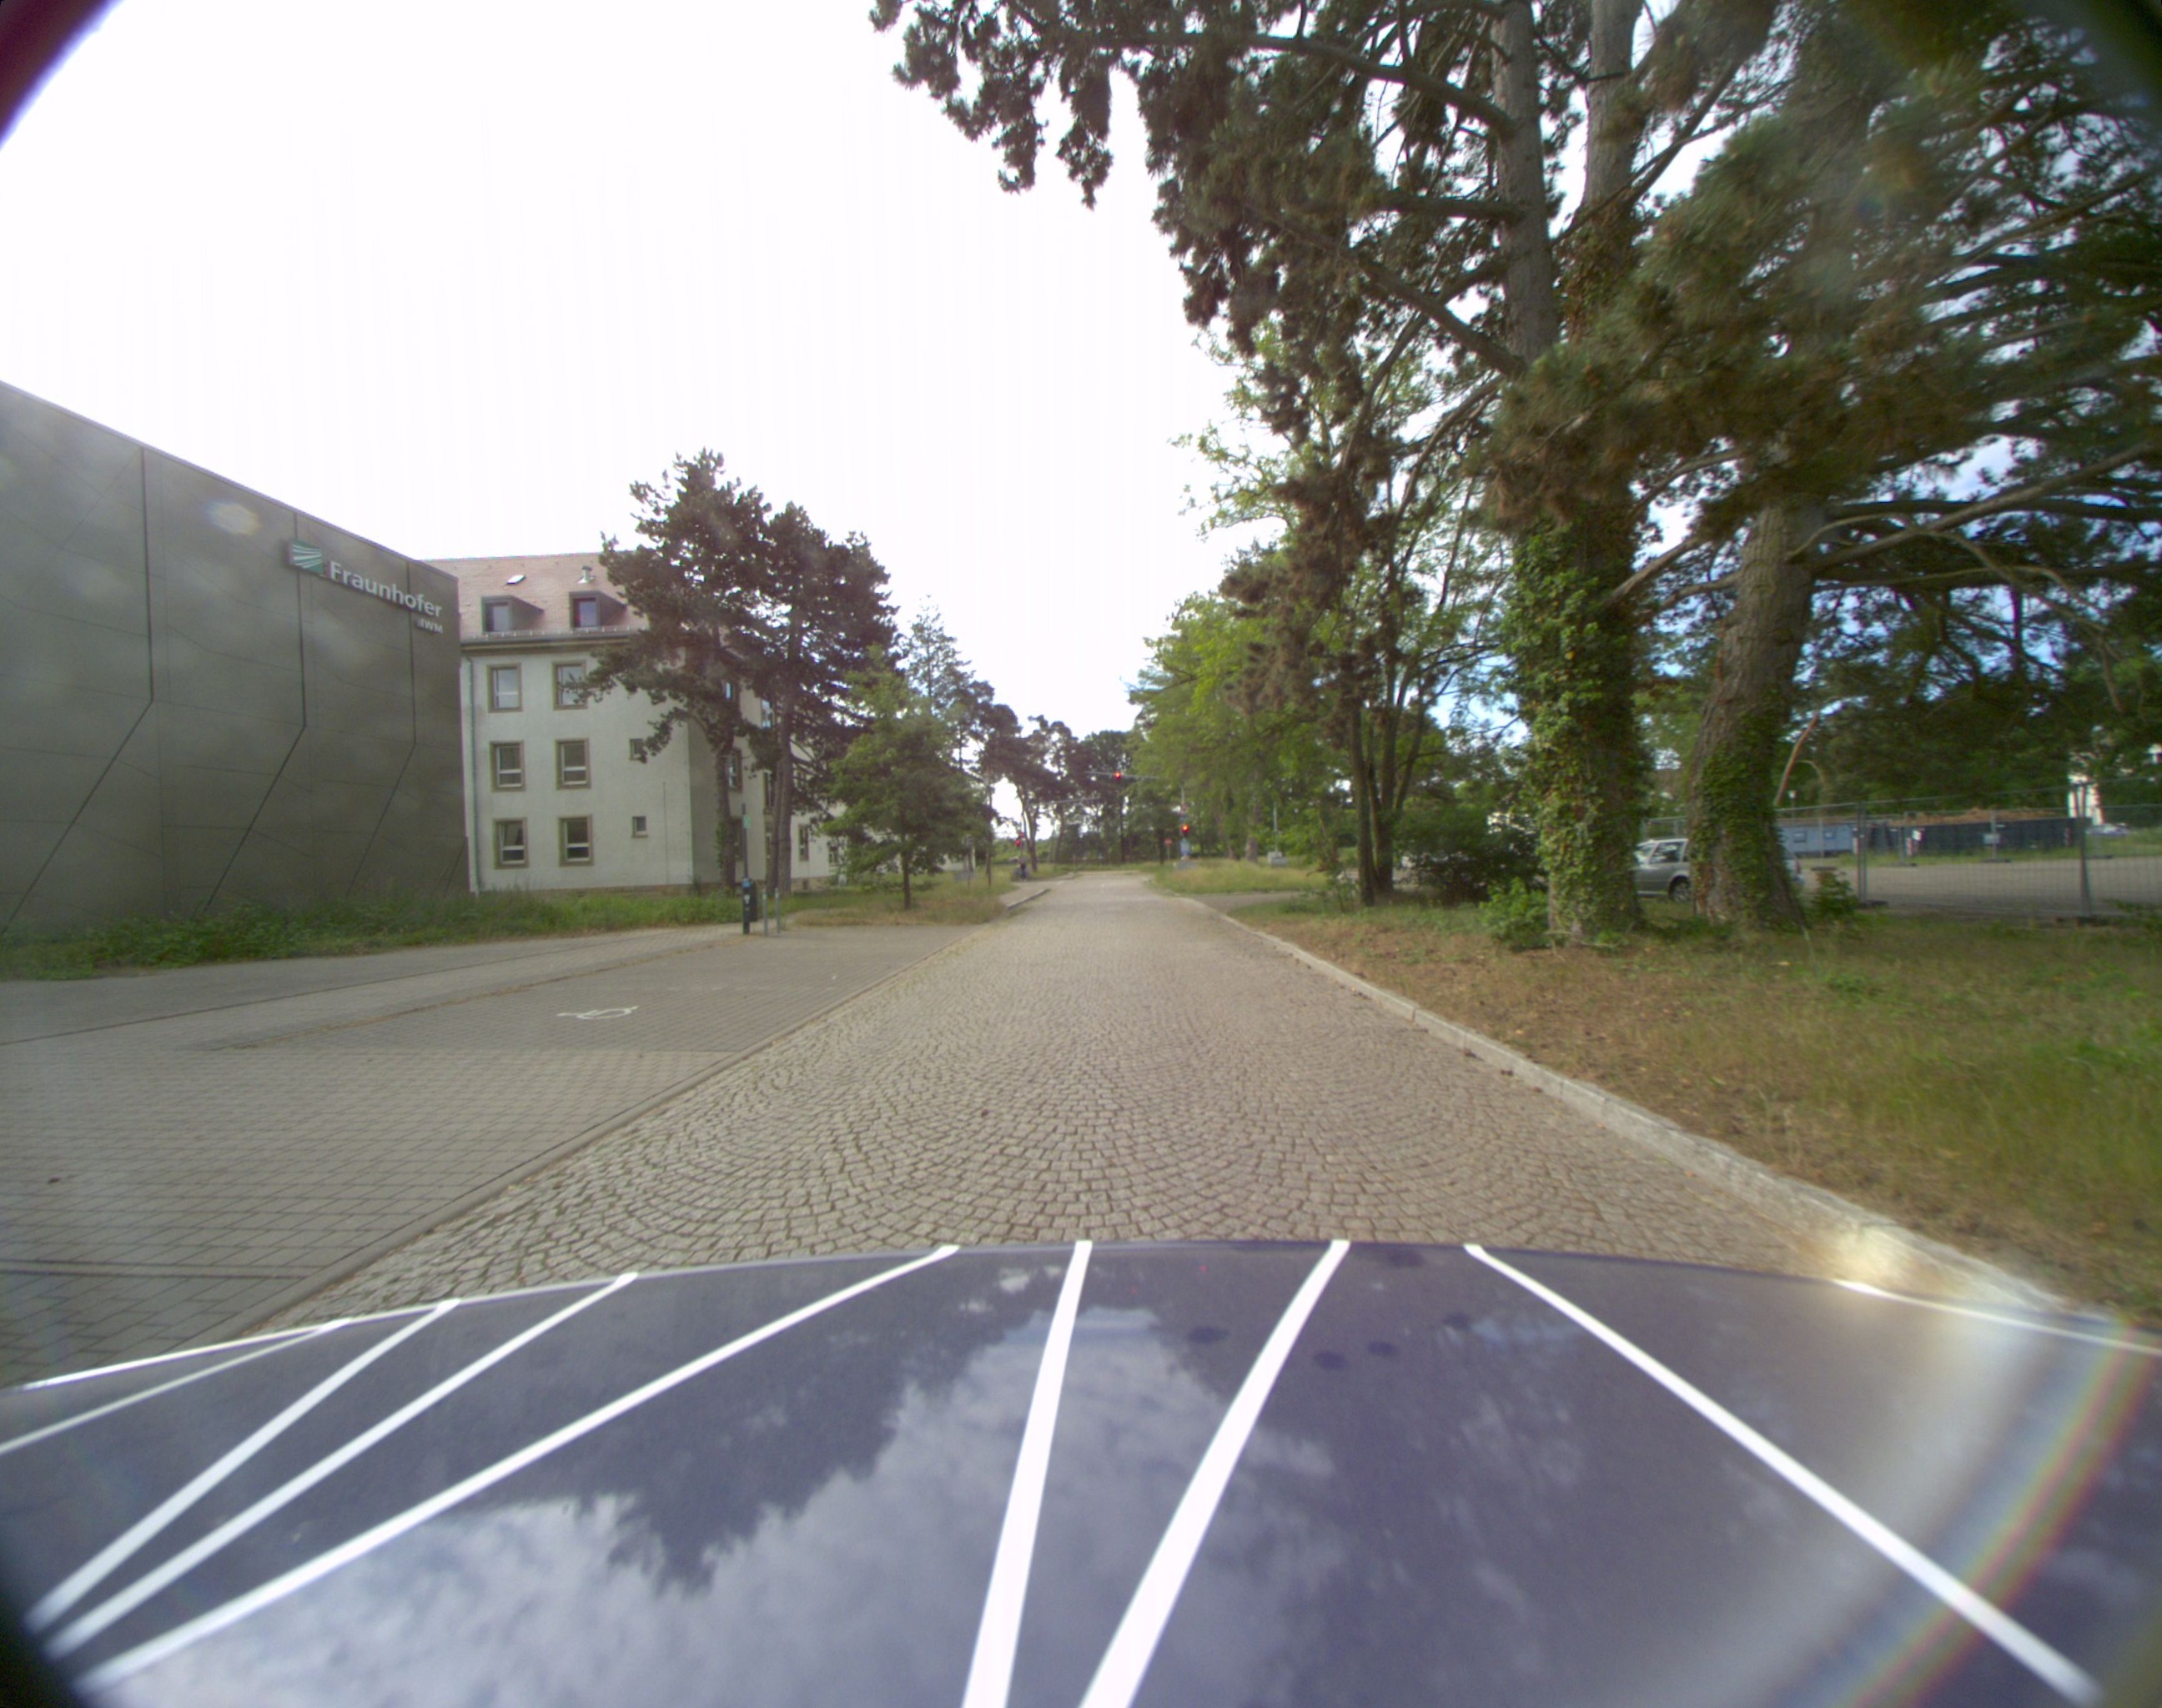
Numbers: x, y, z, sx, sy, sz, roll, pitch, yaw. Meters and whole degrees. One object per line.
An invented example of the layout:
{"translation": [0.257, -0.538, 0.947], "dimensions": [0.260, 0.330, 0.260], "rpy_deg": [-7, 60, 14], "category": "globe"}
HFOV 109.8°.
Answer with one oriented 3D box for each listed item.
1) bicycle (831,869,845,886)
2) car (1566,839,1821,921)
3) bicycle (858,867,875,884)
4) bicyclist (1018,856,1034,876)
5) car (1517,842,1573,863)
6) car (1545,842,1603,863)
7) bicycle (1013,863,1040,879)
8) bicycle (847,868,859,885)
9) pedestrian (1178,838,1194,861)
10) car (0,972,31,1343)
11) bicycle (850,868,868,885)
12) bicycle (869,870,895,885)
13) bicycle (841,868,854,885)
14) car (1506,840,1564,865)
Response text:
{"translation": [-19.859, 1.885, 62.173], "dimensions": [0.572, 1.324, 1.837], "rpy_deg": [-2, 0, -3], "category": "bicycle"}
{"translation": [12.568, 0.486, 16.061], "dimensions": [1.720, 1.430, 4.467], "rpy_deg": [-2, 0, -1], "category": "car"}
{"translation": [-17.535, 1.787, 62.270], "dimensions": [0.572, 1.324, 1.839], "rpy_deg": [-2, 0, 9], "category": "bicycle"}
{"translation": [-4.652, 1.006, 64.300], "dimensions": [0.962, 1.625, 0.919], "rpy_deg": [-2, 0, 43], "category": "bicyclist"}
{"translation": [39.085, -0.067, 64.156], "dimensions": [1.840, 1.549, 4.586], "rpy_deg": [-2, -2, -1], "category": "car"}
{"translation": [41.412, -0.089, 63.943], "dimensions": [1.840, 1.512, 4.586], "rpy_deg": [-2, -2, -1], "category": "car"}
{"translation": [-4.570, 1.432, 64.331], "dimensions": [0.962, 1.268, 2.168], "rpy_deg": [-2, 0, 43], "category": "bicycle"}
{"translation": [-18.661, 1.830, 62.195], "dimensions": [0.482, 1.324, 1.837], "rpy_deg": [-2, 0, -3], "category": "bicycle"}
{"translation": [6.901, -0.285, 49.794], "dimensions": [0.883, 1.508, 0.822], "rpy_deg": [-2, 0, 16], "category": "pedestrian"}
{"translation": [-6.462, 1.196, 2.070], "dimensions": [4.534, 1.435, 1.823], "rpy_deg": [0, 0, -2], "category": "car"}
{"translation": [-18.165, 1.799, 62.170], "dimensions": [0.572, 1.324, 1.839], "rpy_deg": [-2, 0, 9], "category": "bicycle"}
{"translation": [-15.878, 1.877, 60.558], "dimensions": [1.836, 1.079, 0.573], "rpy_deg": [-2, 2, 5], "category": "bicycle"}
{"translation": [-19.093, 1.857, 62.217], "dimensions": [0.572, 1.324, 1.837], "rpy_deg": [-2, 0, -3], "category": "bicycle"}
{"translation": [32.007, -0.072, 53.700], "dimensions": [1.736, 1.512, 4.116], "rpy_deg": [-2, -2, 2], "category": "car"}
